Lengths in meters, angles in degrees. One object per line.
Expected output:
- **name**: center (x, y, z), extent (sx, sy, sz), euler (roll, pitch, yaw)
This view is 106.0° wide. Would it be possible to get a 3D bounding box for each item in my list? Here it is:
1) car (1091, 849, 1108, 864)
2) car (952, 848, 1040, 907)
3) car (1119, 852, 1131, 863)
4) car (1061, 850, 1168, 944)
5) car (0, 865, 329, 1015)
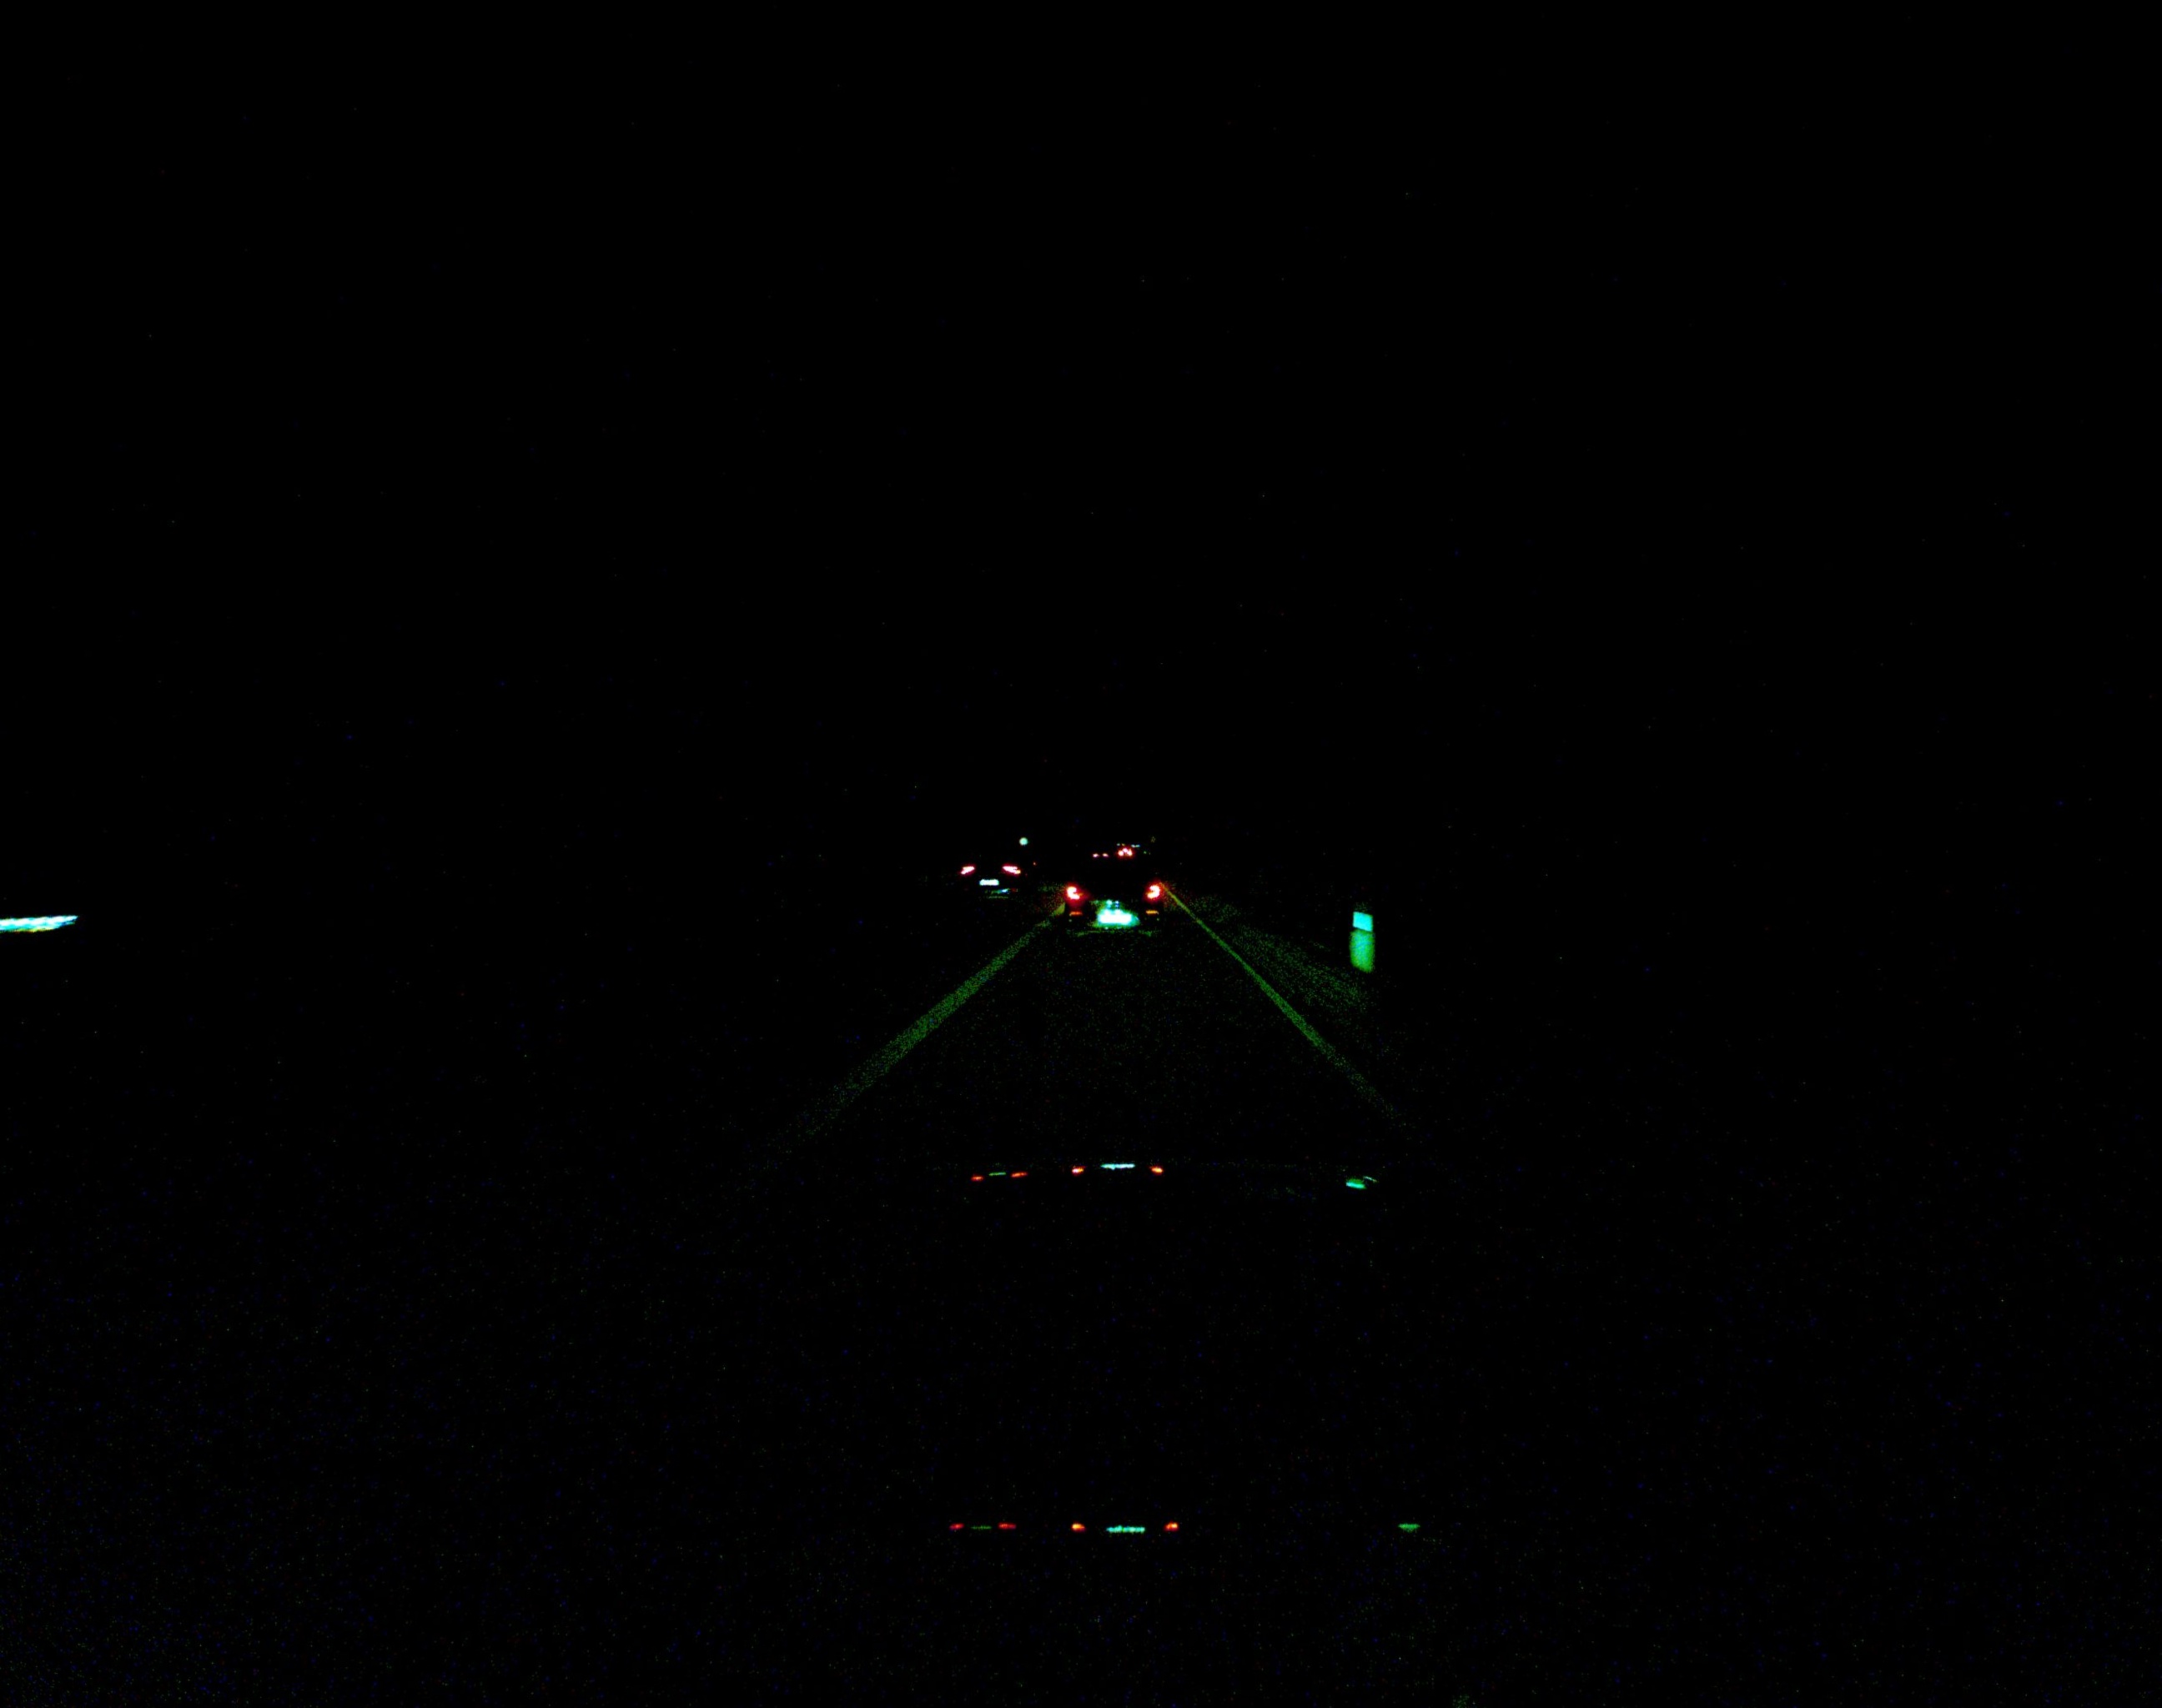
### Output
- **car**: center (2.328, 0.321, 101.720), extent (1.944, 1.538, 4.243), euler (-5, -2, 2)
- **car**: center (-2.440, 0.627, 24.568), extent (1.932, 1.608, 4.647), euler (0, 0, 3)
- **car**: center (7.139, 0.541, 132.205), extent (1.727, 1.618, 3.800), euler (-1, 0, 2)
- **car**: center (0.509, 0.672, 14.826), extent (1.686, 1.478, 3.998), euler (0, 0, -1)
- **car**: center (-15.728, 1.229, 13.565), extent (1.985, 2.014, 4.611), euler (-1, 0, 3)
